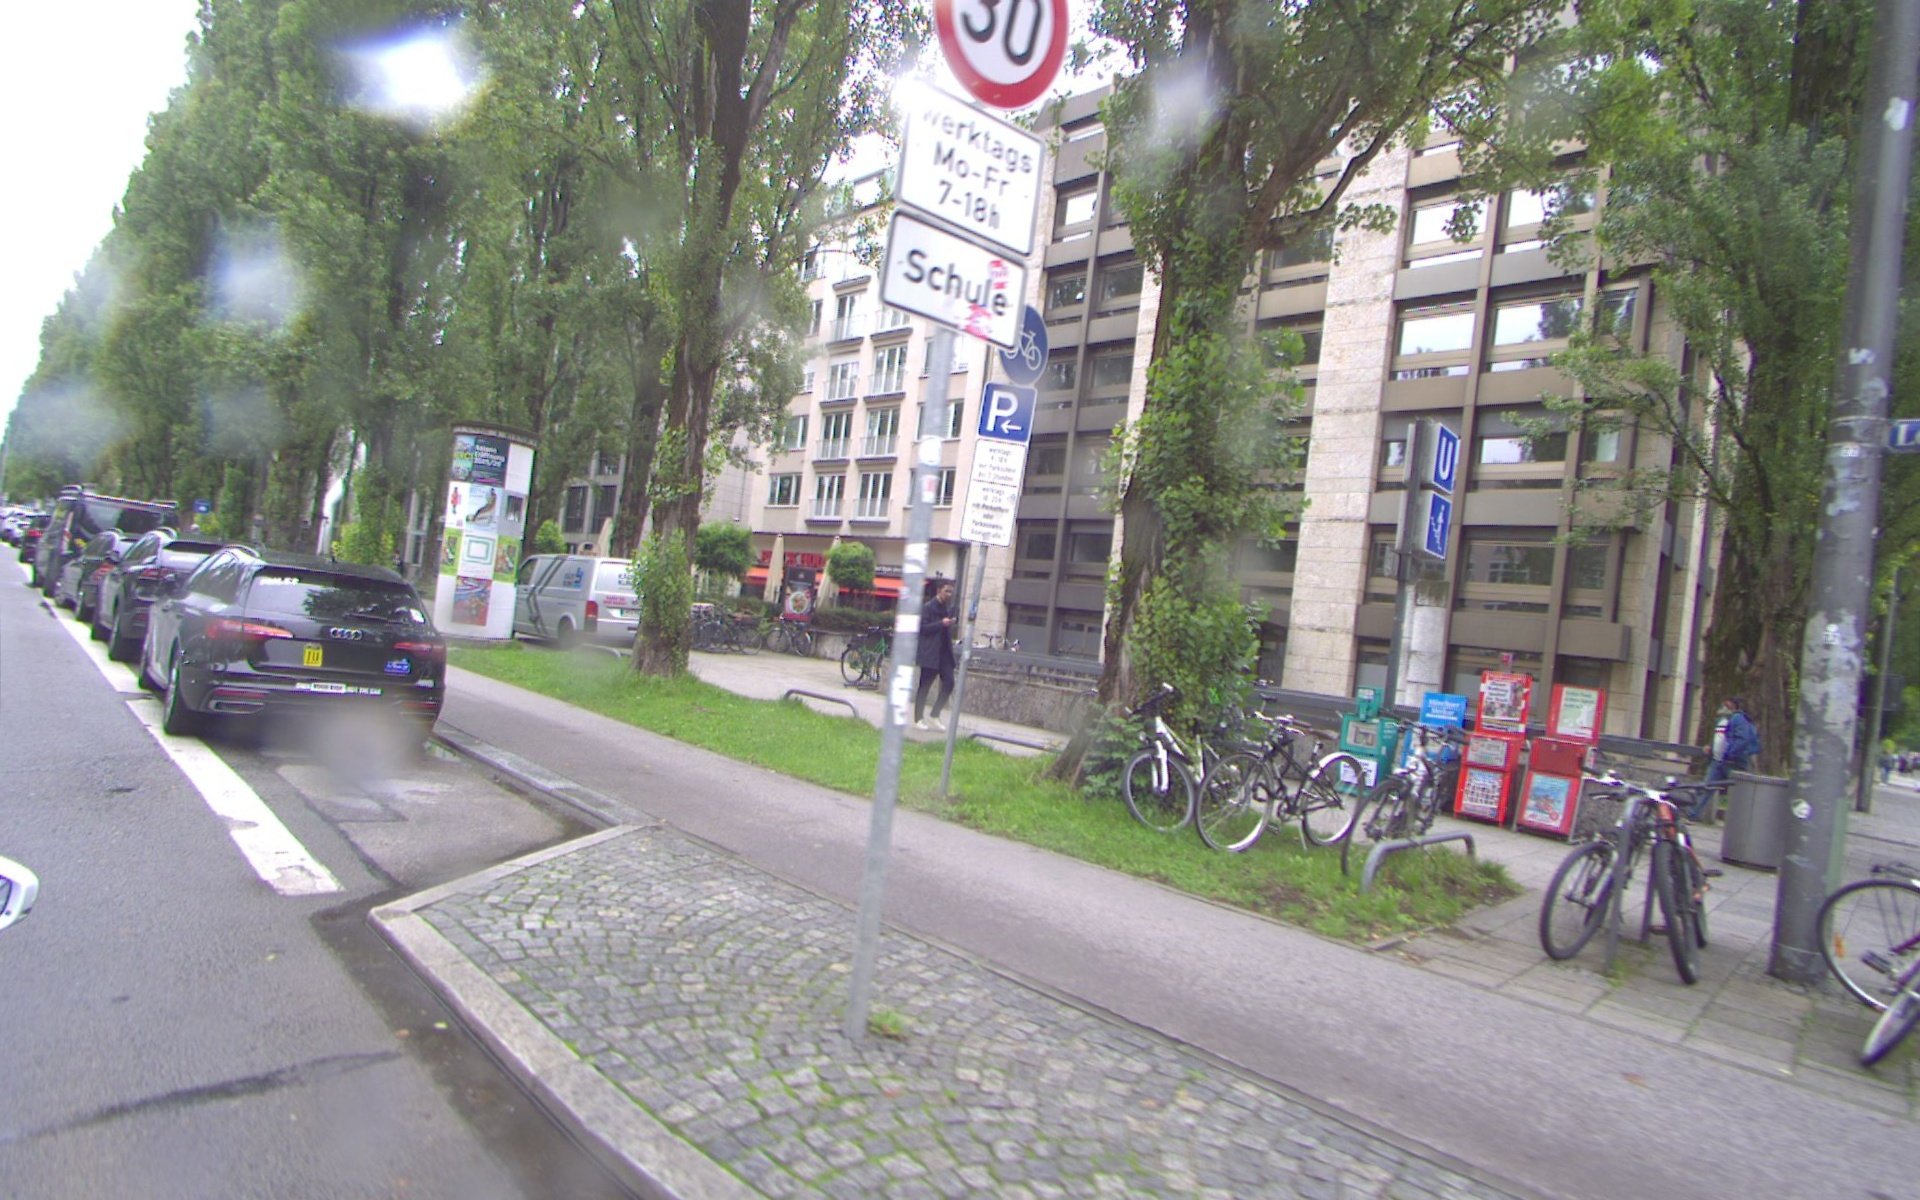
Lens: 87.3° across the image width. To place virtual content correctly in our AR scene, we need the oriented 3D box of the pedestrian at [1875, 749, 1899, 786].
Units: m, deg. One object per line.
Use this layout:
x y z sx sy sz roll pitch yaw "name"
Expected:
42.676 7.700 46.314 0.535 1.548 0.531 7 -1 21 "pedestrian"

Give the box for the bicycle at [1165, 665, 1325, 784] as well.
3.462 1.494 12.389 0.582 1.173 1.853 7 -1 -33 "bicycle"

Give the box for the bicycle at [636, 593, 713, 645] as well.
-7.769 0.534 27.467 1.858 1.173 0.580 9 -2 -44 "bicycle"

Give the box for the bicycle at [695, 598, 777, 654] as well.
-5.578 0.672 25.161 1.858 1.173 0.580 9 -1 -44 "bicycle"

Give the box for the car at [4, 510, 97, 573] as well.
-28.638 -1.859 31.640 3.899 1.609 1.741 5 -3 43 "car"

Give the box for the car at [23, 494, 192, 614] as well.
-17.482 -0.986 20.533 4.973 1.946 1.909 5 -3 43 "car"

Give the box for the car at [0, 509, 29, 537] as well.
-65.914 -5.357 69.614 3.899 1.661 1.741 5 -3 43 "car"

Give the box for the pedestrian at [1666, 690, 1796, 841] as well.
9.804 2.096 12.803 0.901 1.734 0.863 7 -1 -27 "pedestrian"

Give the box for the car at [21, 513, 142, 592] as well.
-21.648 -1.200 24.753 3.899 1.544 1.741 5 -3 43 "car"

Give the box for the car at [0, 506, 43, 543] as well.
-55.011 -4.417 58.725 3.899 1.807 1.741 6 -3 43 "car"

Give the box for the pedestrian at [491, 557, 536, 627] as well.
-12.234 -0.221 27.557 0.745 1.824 0.834 7 -1 -41 "pedestrian"

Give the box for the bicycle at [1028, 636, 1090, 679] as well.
3.189 1.875 32.347 0.639 1.169 2.234 6 -2 44 "bicycle"

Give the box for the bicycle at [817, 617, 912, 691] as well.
-1.842 1.017 19.195 0.584 1.173 1.960 7 -1 -44 "bicycle"

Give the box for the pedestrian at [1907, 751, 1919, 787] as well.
43.369 7.663 45.487 0.637 1.555 0.706 6 -2 41 "pedestrian"

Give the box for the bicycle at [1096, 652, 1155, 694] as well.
5.461 2.418 33.069 0.639 1.169 2.234 6 -2 44 "bicycle"

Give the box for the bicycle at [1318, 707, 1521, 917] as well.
3.044 1.309 6.552 0.506 1.118 1.920 6 -1 44 "bicycle"

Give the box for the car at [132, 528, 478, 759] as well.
-5.885 0.255 8.764 1.746 1.443 4.396 10 -3 -42 "car"

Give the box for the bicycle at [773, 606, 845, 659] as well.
-4.071 0.865 27.070 1.838 1.173 0.587 7 -1 31 "bicycle"

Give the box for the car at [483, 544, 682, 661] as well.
-7.957 -0.019 20.900 1.804 1.918 5.138 8 -2 -44 "car"

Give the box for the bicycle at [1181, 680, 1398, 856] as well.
2.372 1.166 7.114 1.820 1.051 0.507 7 -1 -41 "bicycle"

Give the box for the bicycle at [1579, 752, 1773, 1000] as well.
3.994 1.420 5.548 1.865 1.063 0.470 7 0 -45 "bicycle"

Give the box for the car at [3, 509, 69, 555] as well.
-40.960 -3.010 44.574 3.899 1.661 1.741 5 -3 43 "car"

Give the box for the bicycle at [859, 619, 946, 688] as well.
-1.194 1.075 20.407 0.584 1.173 1.846 7 -1 -44 "bicycle"

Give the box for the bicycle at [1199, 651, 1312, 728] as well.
5.420 1.631 18.517 0.584 1.173 1.846 7 -1 -44 "bicycle"

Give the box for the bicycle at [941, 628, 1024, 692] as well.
0.477 1.304 22.138 0.584 1.173 1.846 7 -1 -44 "bicycle"

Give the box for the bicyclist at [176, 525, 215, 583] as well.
-23.254 -1.404 30.610 0.746 1.640 0.720 7 1 42 "bicyclist"

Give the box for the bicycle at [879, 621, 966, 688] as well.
-0.797 1.119 20.860 0.584 1.173 1.846 7 -1 -44 "bicycle"

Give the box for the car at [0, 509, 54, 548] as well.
-46.712 -3.568 50.247 3.899 1.563 1.741 5 -3 43 "car"

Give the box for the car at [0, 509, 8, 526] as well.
-98.941 -8.596 103.067 3.899 1.661 1.741 5 -3 43 "car"

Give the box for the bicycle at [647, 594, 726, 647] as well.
-7.293 0.556 26.900 1.859 1.173 0.580 9 -1 -44 "bicycle"

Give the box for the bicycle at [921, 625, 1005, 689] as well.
0.044 1.214 21.694 0.584 1.173 1.846 7 -1 -44 "bicycle"

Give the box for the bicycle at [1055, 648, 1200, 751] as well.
2.341 1.384 14.196 1.841 1.173 0.586 6 -1 36 "bicycle"

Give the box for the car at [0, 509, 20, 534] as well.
-73.826 -6.133 77.472 3.899 1.661 1.741 5 -3 43 "car"

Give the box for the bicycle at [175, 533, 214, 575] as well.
-23.295 -1.402 30.595 0.714 1.162 1.878 3 0 -43 "bicycle"

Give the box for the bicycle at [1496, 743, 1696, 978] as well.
3.686 1.394 5.752 1.865 1.063 0.470 7 0 -45 "bicycle"

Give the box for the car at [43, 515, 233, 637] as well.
-13.619 -0.448 16.581 4.178 1.544 1.741 5 -3 43 "car"

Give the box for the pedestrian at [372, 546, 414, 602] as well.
-19.353 -0.876 34.350 0.906 1.773 0.850 7 -1 -44 "pedestrian"

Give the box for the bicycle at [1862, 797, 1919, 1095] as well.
4.369 1.447 4.378 1.866 1.062 0.470 9 -2 -44 "bicycle"

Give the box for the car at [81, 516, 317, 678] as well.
-9.467 -0.097 12.396 1.739 1.544 3.859 10 -3 -44 "car"

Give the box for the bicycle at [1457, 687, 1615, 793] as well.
8.671 2.087 15.207 0.717 1.292 1.846 7 -1 -44 "bicycle"

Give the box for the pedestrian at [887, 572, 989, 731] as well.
-0.291 0.665 13.182 0.712 1.951 0.894 7 0 -44 "pedestrian"

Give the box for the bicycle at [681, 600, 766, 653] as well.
-6.021 0.694 25.710 2.019 1.174 0.580 6 -1 -44 "bicycle"

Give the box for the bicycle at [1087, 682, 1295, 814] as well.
1.766 1.098 7.498 1.820 0.827 0.466 8 -1 -41 "bicycle"
